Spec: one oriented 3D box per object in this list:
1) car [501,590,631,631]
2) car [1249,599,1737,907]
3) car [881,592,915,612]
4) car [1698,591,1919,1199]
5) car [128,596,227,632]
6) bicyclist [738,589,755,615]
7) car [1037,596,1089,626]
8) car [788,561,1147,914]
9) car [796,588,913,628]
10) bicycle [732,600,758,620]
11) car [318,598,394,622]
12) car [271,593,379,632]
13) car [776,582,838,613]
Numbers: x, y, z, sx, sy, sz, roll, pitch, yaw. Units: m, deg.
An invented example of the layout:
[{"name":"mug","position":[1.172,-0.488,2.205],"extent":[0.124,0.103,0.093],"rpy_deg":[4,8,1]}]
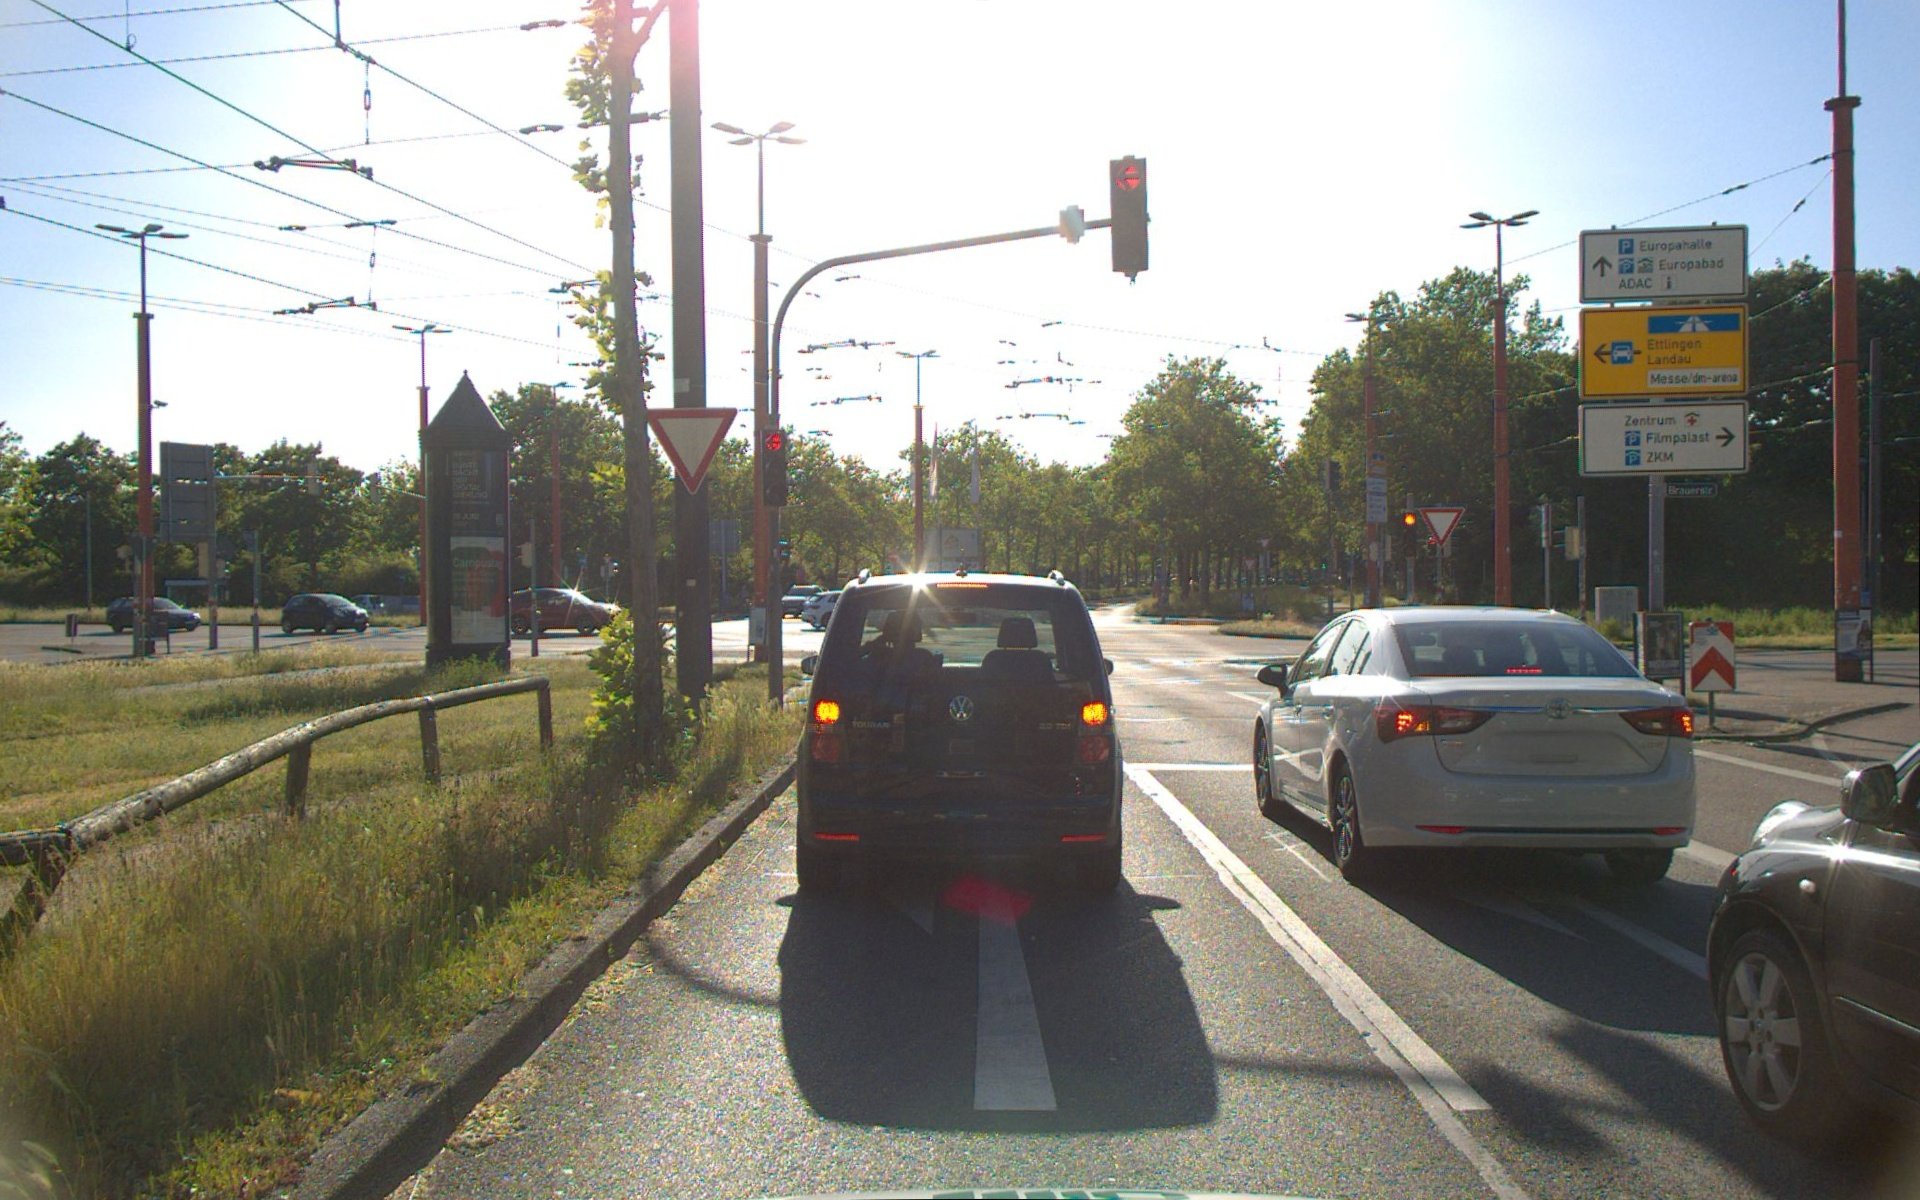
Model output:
[{"name":"car","position":[-14.668,0.380,61.671],"extent":[4.266,1.489,1.916],"rpy_deg":[0,0,10]},{"name":"car","position":[2.951,0.740,10.106],"extent":[1.679,1.480,4.144],"rpy_deg":[0,0,0]},{"name":"car","position":[-5.343,0.184,142.887],"extent":[1.951,1.714,4.833],"rpy_deg":[0,0,11]},{"name":"car","position":[3.131,0.743,3.507],"extent":[1.525,1.532,3.515],"rpy_deg":[0,0,-1]},{"name":"car","position":[-33.478,0.566,70.727],"extent":[4.150,1.489,1.910],"rpy_deg":[0,0,32]},{"name":"bicyclist","position":[-12.191,0.089,94.438],"extent":[0.678,1.483,0.875],"rpy_deg":[0,0,17]},{"name":"car","position":[5.253,0.549,83.750],"extent":[1.867,1.489,4.226],"rpy_deg":[0,0,15]},{"name":"car","position":[0.010,0.644,9.862],"extent":[1.702,1.670,3.999],"rpy_deg":[0,0,-1]},{"name":"car","position":[-4.068,0.277,63.548],"extent":[4.145,1.489,1.904],"rpy_deg":[0,0,-19]},{"name":"bicycle","position":[-12.222,0.565,94.218],"extent":[0.719,1.109,1.962],"rpy_deg":[0,0,18]},{"name":"car","position":[-34.556,0.578,94.663],"extent":[3.721,1.333,1.664],"rpy_deg":[0,0,10]},{"name":"car","position":[-25.247,0.488,65.753],"extent":[3.965,1.489,1.911],"rpy_deg":[0,0,28]},{"name":"car","position":[-8.600,-0.160,93.388],"extent":[1.951,1.714,4.832],"rpy_deg":[0,0,15]}]
